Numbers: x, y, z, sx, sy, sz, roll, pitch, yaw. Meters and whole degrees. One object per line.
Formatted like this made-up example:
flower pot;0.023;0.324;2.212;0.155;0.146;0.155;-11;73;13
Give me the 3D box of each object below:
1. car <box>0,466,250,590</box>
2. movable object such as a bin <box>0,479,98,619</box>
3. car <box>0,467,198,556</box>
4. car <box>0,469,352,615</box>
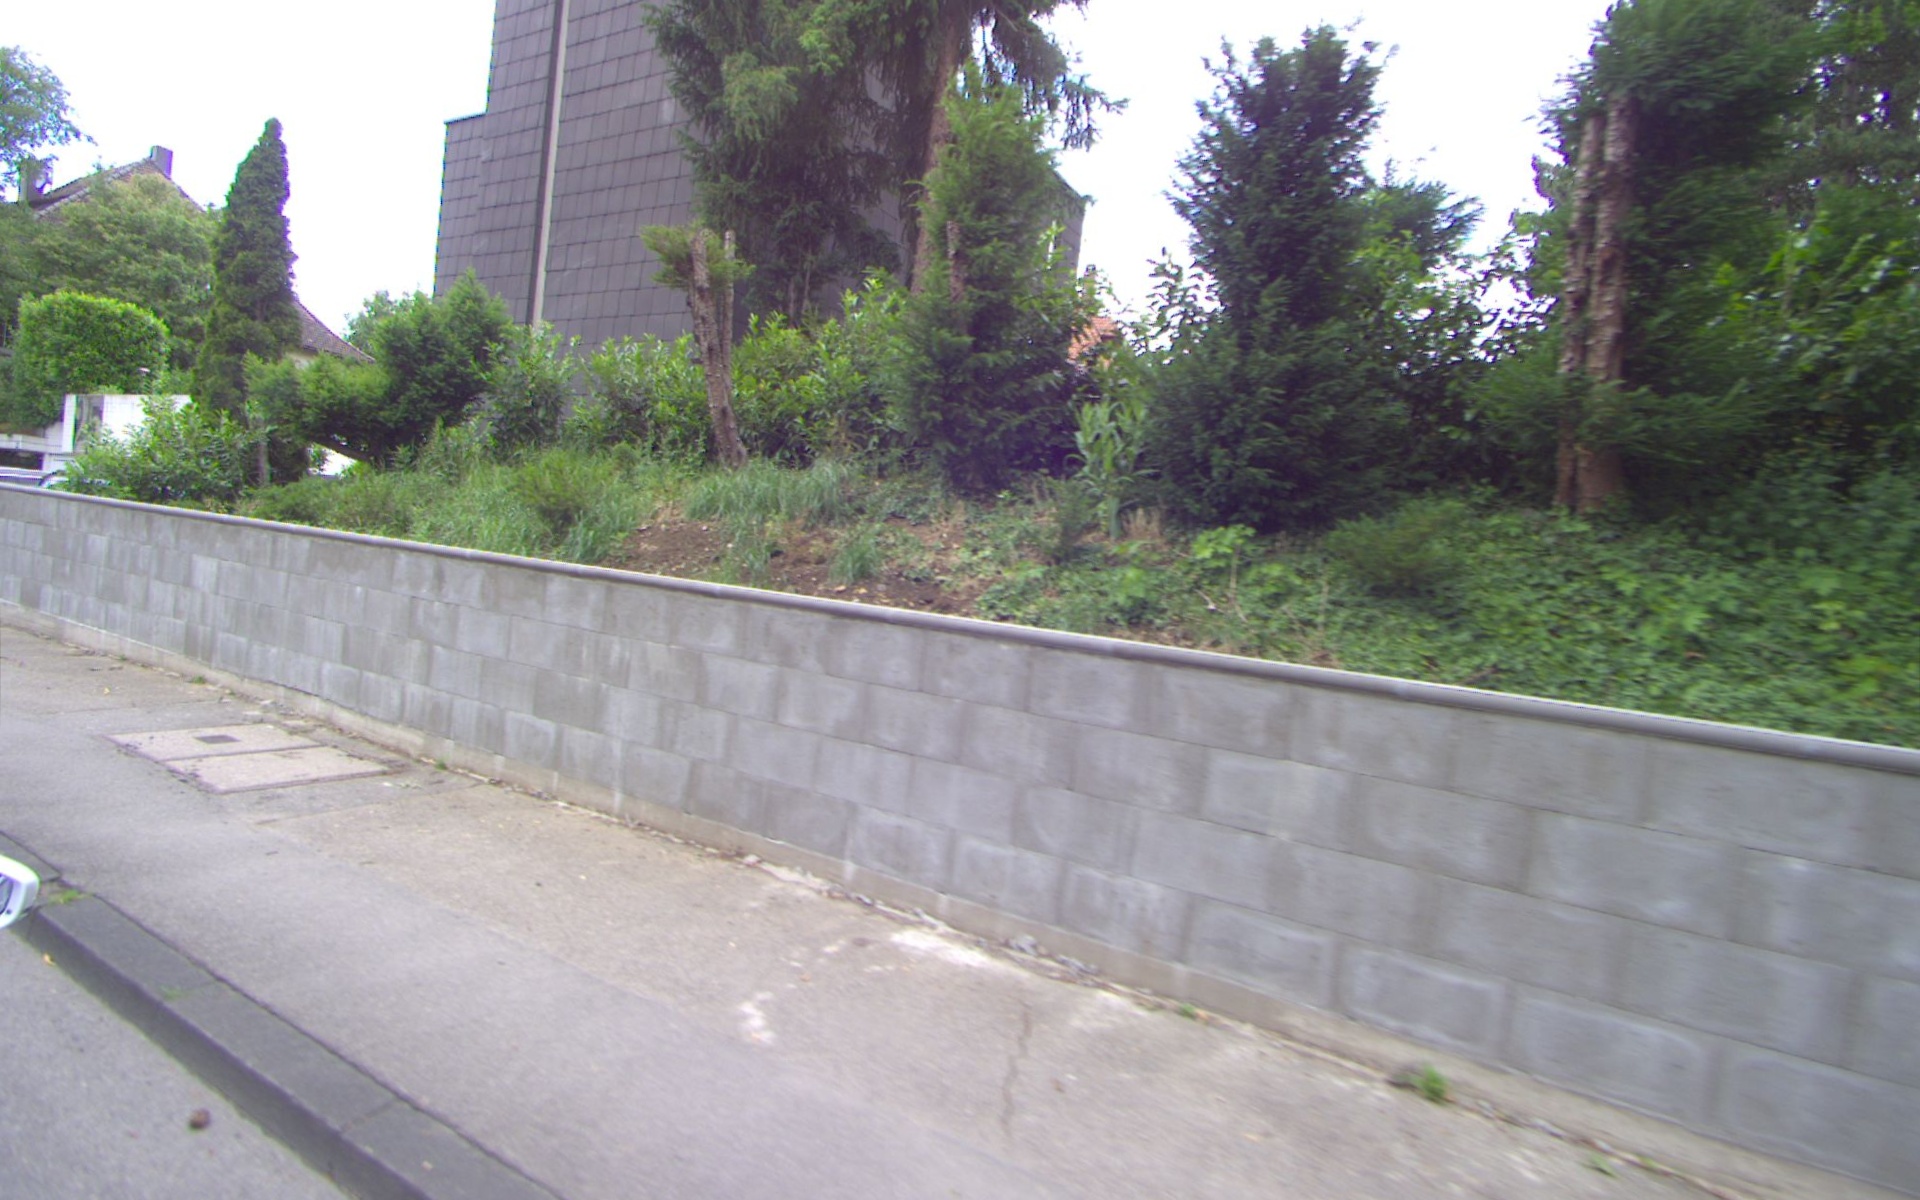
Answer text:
car;-14.425;-1.188;16.257;1.800;1.673;4.395;7;1;33
movable object such as a bin;-10.577;-0.590;11.089;1.161;1.470;1.300;6;2;32
car;-23.474;-2.355;27.252;1.936;1.732;3.994;7;-1;29
car;-11.511;-0.786;14.922;1.801;1.673;3.797;7;1;35
